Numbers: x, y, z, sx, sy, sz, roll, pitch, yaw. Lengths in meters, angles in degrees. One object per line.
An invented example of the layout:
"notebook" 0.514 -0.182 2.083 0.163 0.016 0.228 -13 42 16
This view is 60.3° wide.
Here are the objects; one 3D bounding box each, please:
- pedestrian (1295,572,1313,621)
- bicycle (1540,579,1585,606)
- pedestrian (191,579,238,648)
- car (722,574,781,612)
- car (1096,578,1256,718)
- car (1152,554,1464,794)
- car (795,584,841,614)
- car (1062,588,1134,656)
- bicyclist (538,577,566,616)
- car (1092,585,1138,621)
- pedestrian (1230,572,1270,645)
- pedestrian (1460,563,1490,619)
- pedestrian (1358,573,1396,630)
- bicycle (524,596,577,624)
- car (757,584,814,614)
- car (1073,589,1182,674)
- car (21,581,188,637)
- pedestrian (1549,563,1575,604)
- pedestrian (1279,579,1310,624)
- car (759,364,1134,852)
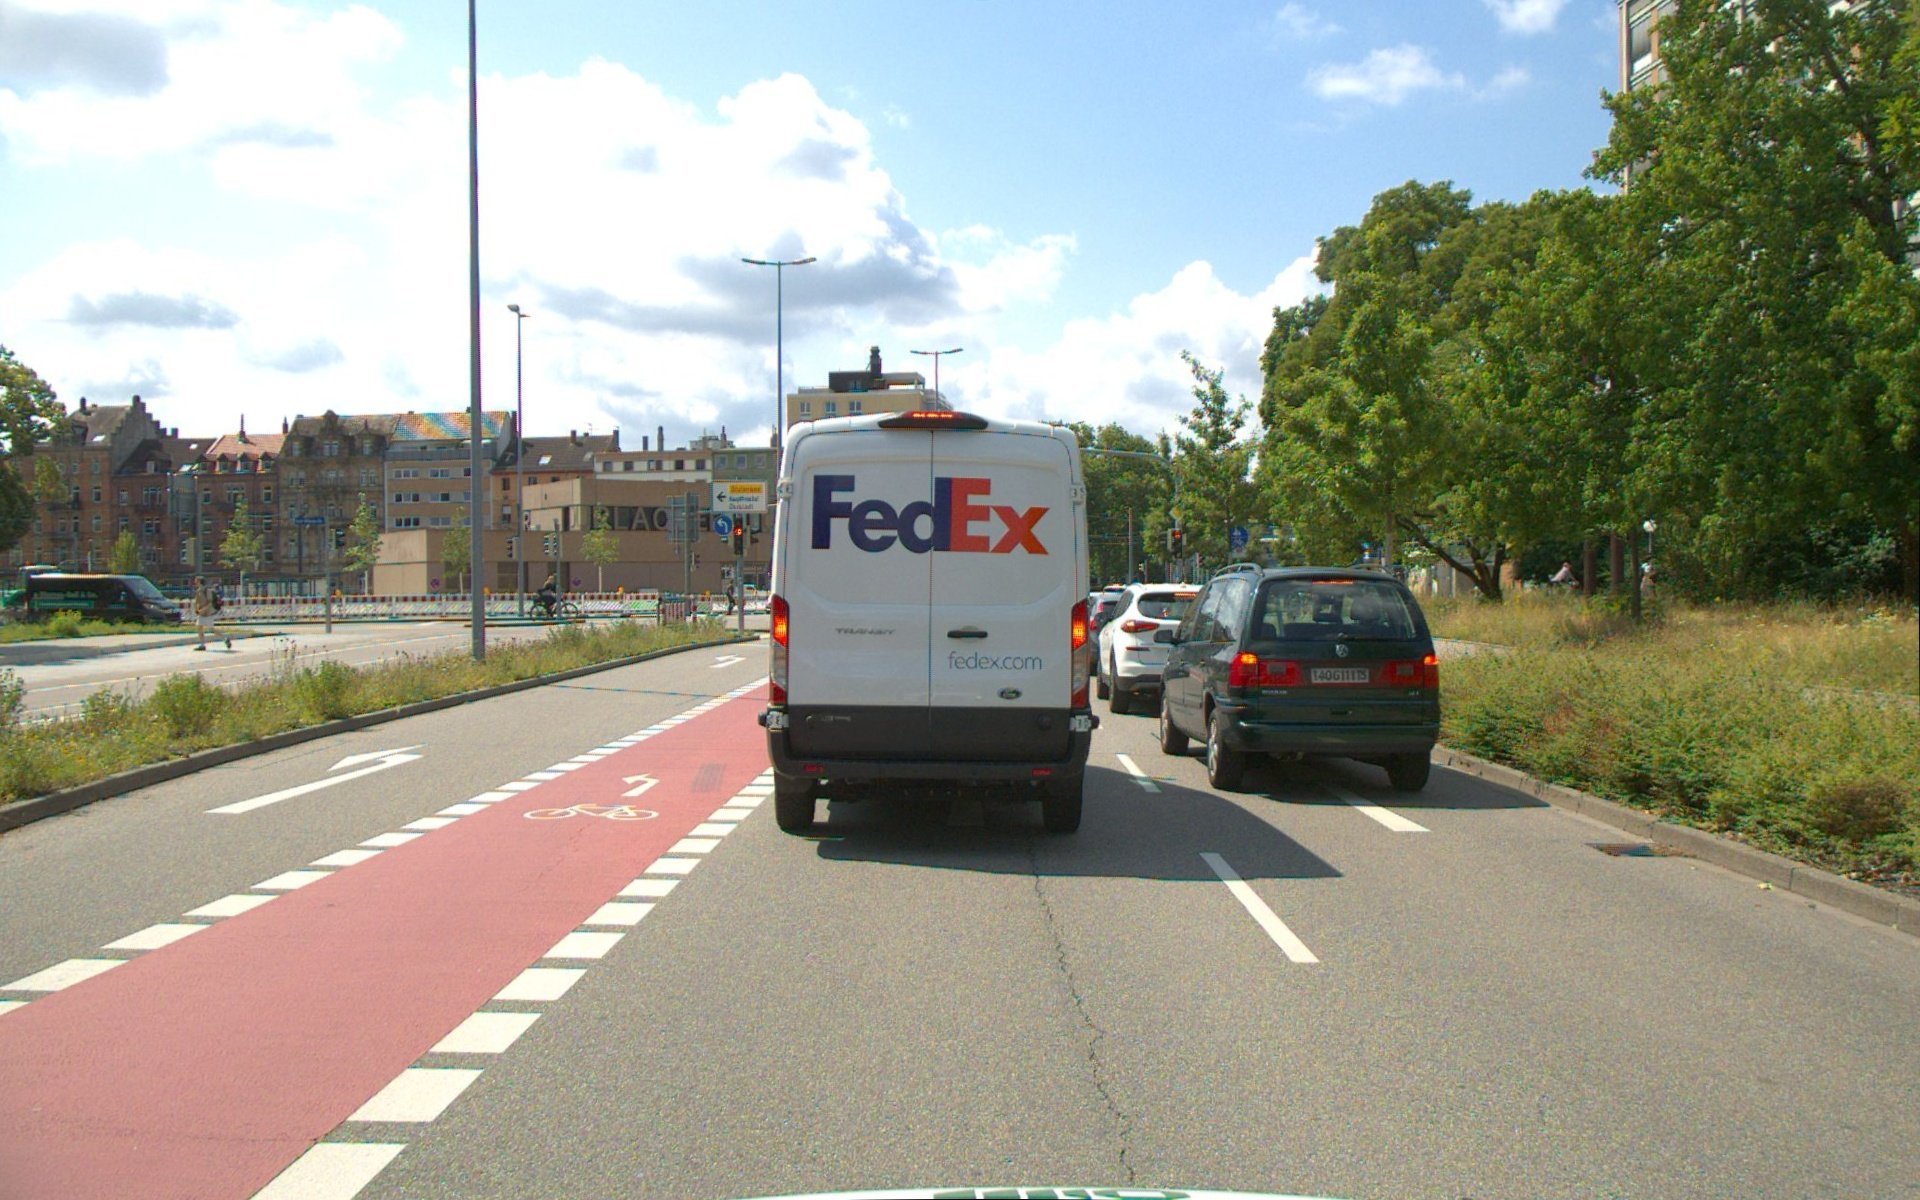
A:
"pedestrian" 13.764 -0.133 66.115 0.562 1.925 0.679 0 0 -1
"bicycle" 21.991 -0.268 60.386 1.537 0.972 0.486 0 0 19
"pedestrian" -17.593 0.314 39.034 0.545 1.587 0.871 0 1 42
"car" -11.678 -0.367 93.043 1.951 2.049 4.003 -1 0 14
"car" 2.831 0.575 22.427 1.760 1.717 4.001 0 1 2
"car" 2.829 0.521 14.428 1.775 1.764 4.388 0 1 0
"car" -8.362 -0.054 97.838 1.839 1.680 4.003 -1 0 8
"car" 3.145 0.473 38.055 1.454 1.453 3.433 0 1 2
"bicyclist" -15.599 -0.138 63.235 0.949 1.500 0.550 -1 0 -8
"car" 8.098 0.147 85.971 1.951 1.825 4.375 -1 0 11
"pedestrian" 7.759 0.221 44.268 0.931 1.925 0.774 0 0 -1
"pedestrian" 19.350 -0.334 62.177 0.726 2.094 0.844 -1 0 -16
"pedestrian" 11.528 0.034 45.790 0.827 1.565 0.835 -1 0 -1
"bicycle" -15.644 0.371 63.233 1.884 1.048 0.547 -1 0 -8
"car" -9.659 -0.042 91.643 1.860 1.613 4.003 -1 0 14
"car" 3.098 0.545 31.232 1.760 1.486 3.839 0 1 2
"car" -30.698 0.306 59.440 4.909 1.911 1.927 -1 1 -4
"pedestrian" 21.984 -0.607 60.379 0.880 1.497 0.486 0 0 19
"pedestrian" 10.659 0.033 52.747 0.827 1.413 0.741 -1 0 -1
"car" -0.272 0.029 12.078 2.098 2.699 5.699 0 0 -4
